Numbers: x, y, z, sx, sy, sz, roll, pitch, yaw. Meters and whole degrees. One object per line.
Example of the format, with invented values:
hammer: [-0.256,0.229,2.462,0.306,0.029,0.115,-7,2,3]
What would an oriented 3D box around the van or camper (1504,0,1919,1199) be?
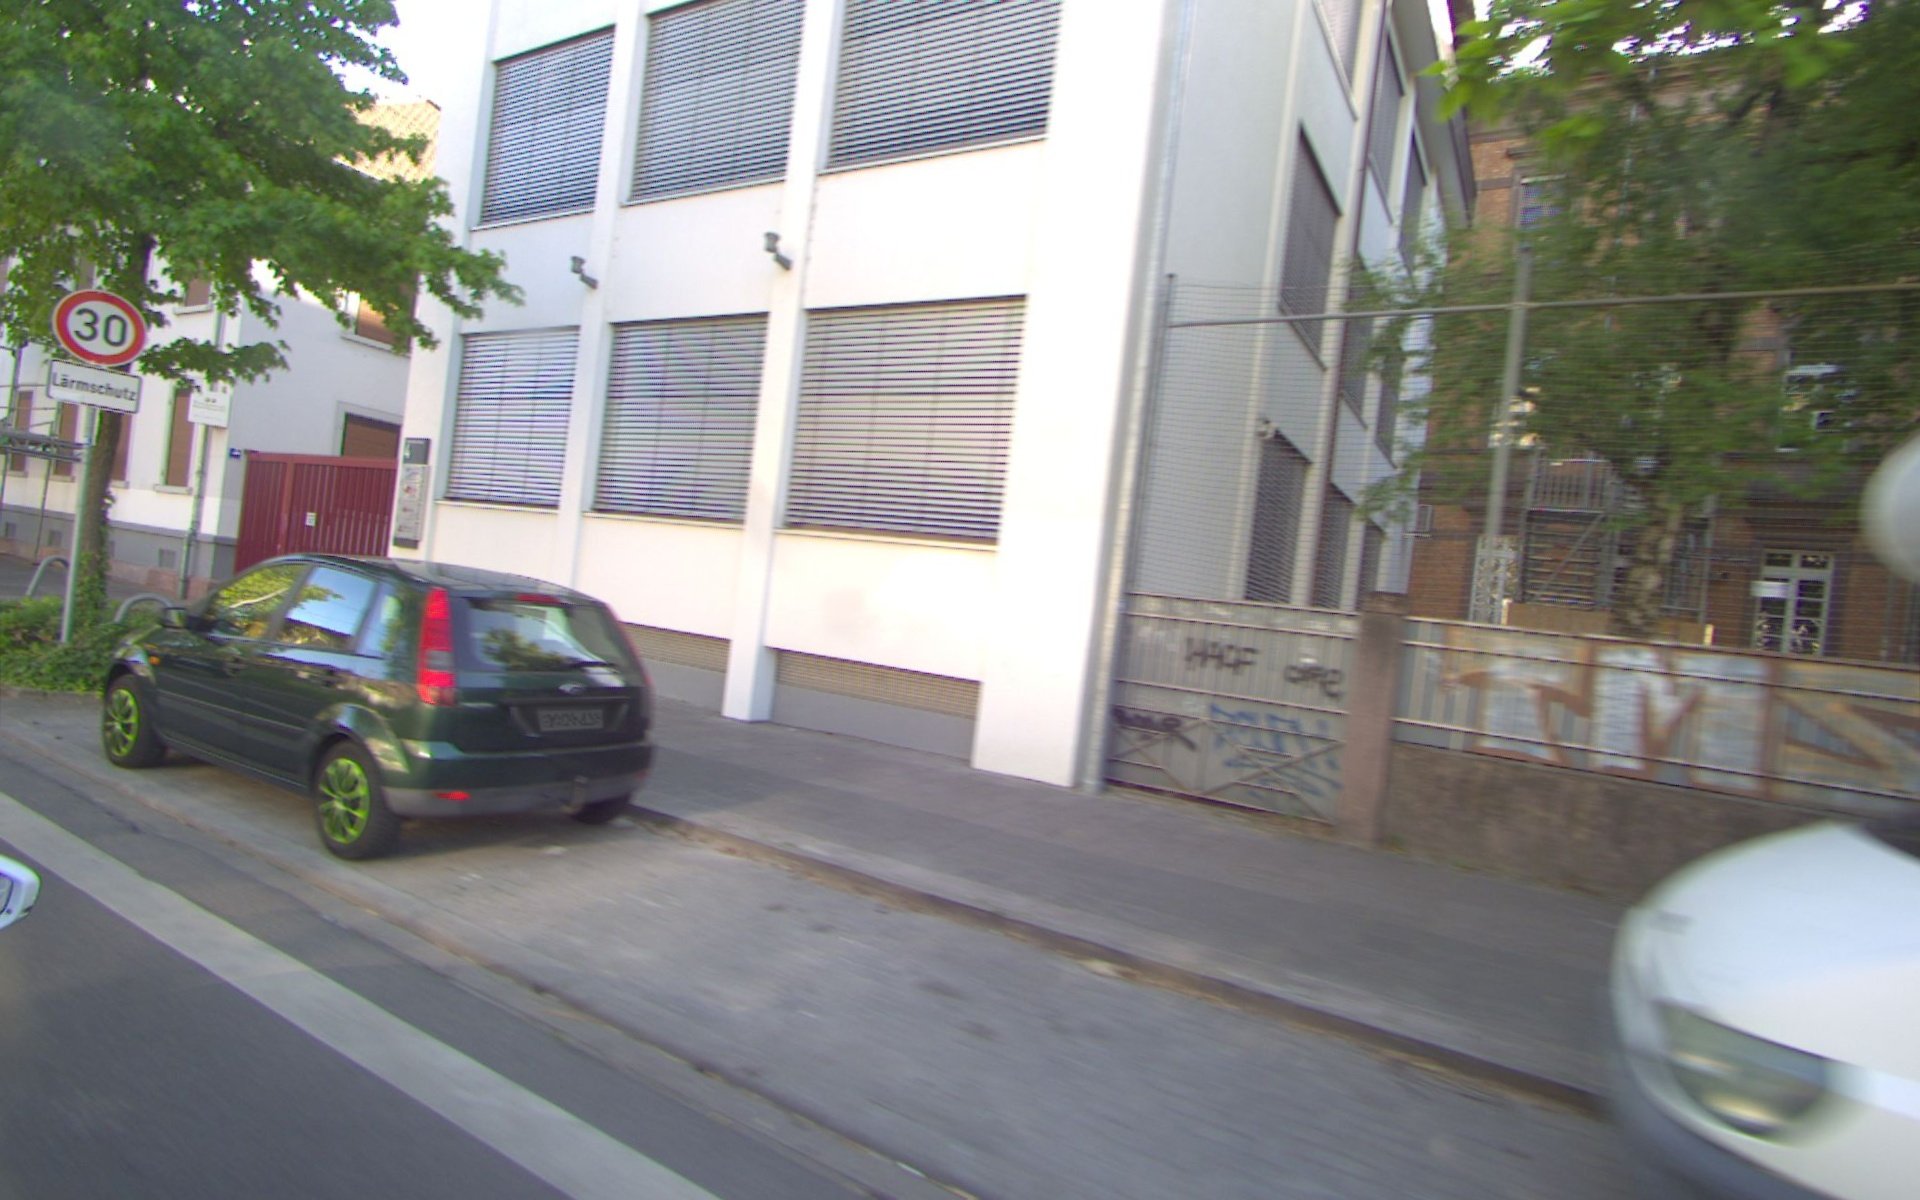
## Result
van or camper: [4.874,0.548,0.911,7.425,3.167,2.376,7,2,31]

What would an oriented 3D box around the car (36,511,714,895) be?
car: [-3.618,0.416,6.061,3.980,1.438,1.688,7,0,30]
